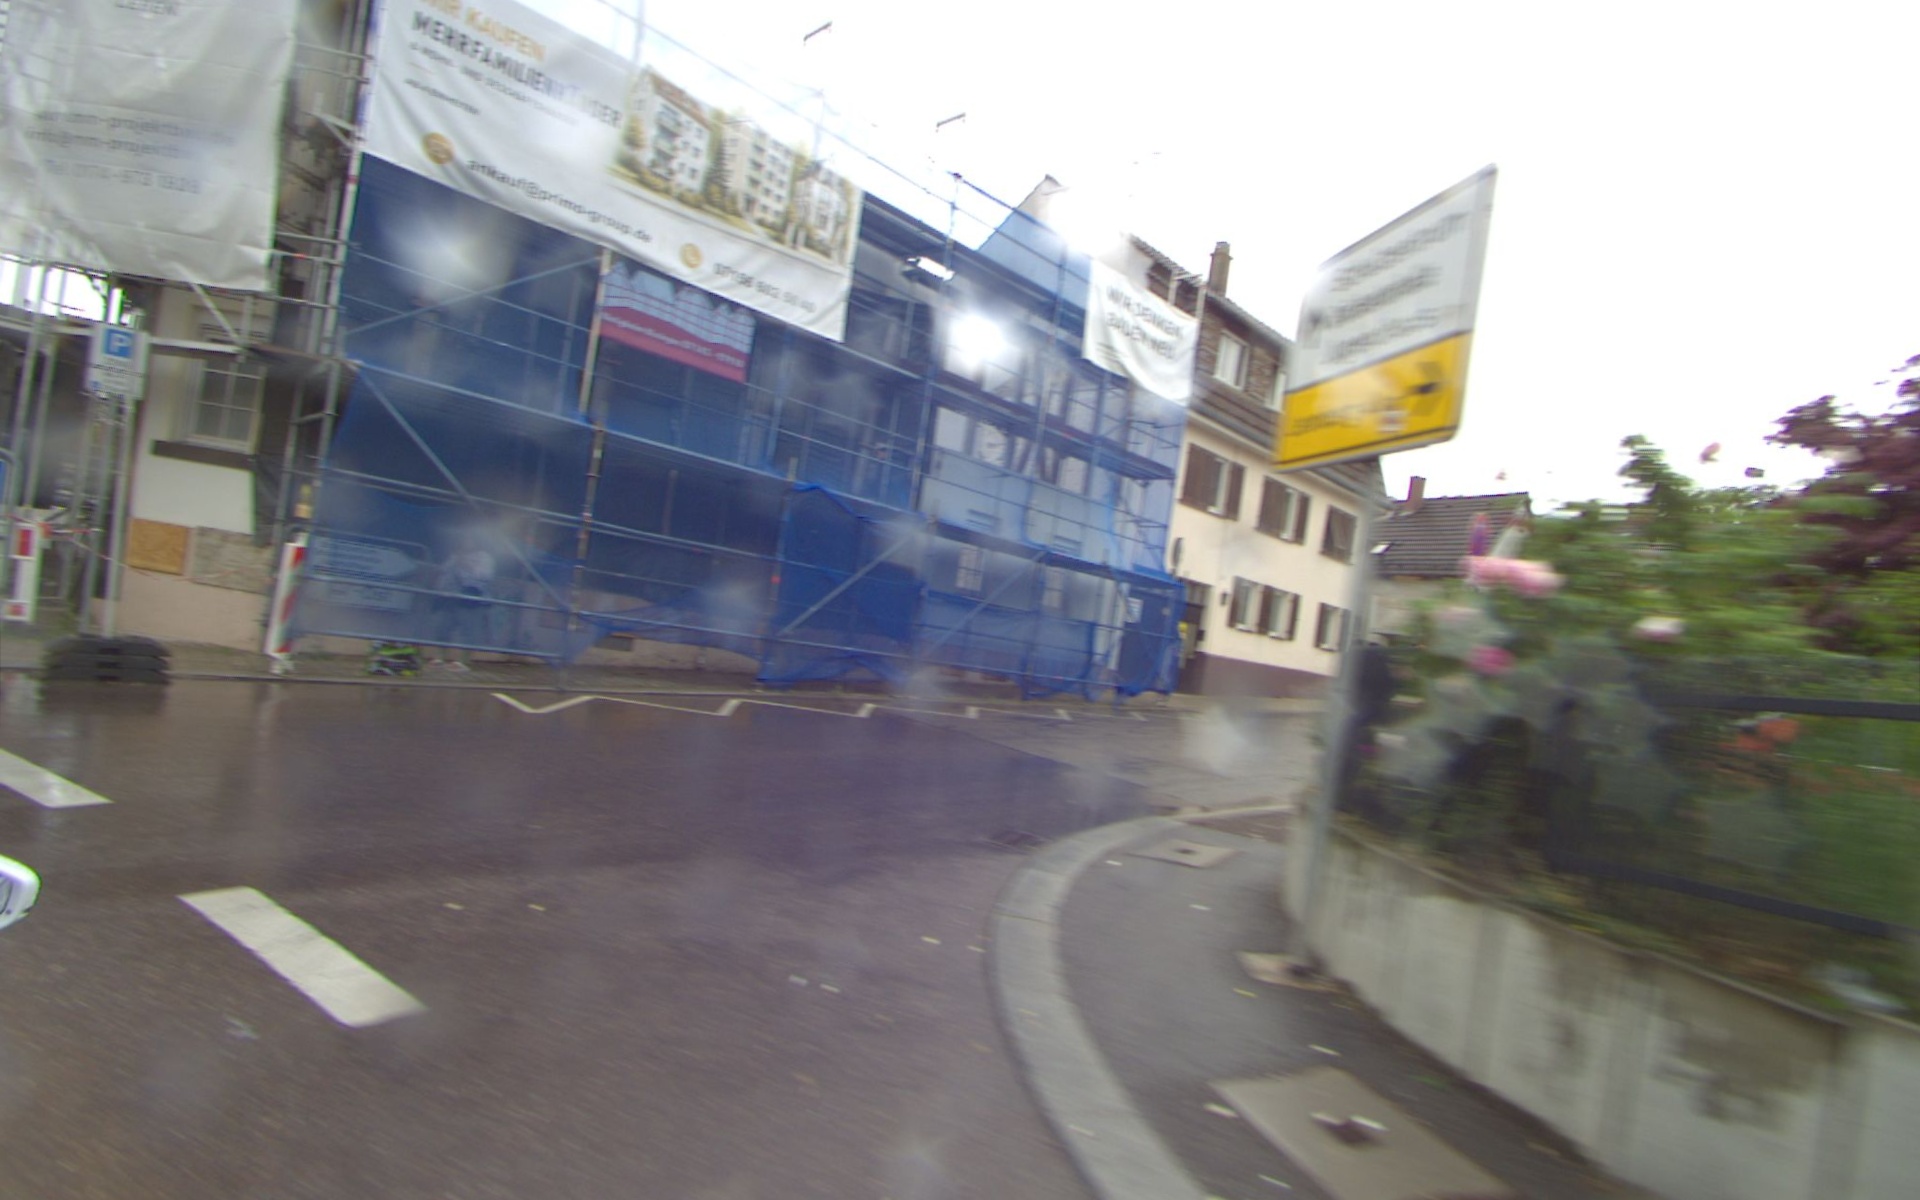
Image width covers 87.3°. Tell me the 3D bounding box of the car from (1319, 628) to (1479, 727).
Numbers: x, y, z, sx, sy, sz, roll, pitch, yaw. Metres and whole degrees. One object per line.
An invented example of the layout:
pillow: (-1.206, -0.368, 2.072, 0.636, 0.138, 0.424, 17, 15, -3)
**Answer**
car: (10.831, 1.936, 24.664, 4.488, 2.000, 1.806, 7, 0, -44)

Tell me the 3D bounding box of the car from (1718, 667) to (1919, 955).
car: (7.236, 1.544, 6.152, 3.941, 1.619, 1.714, 9, 2, 39)

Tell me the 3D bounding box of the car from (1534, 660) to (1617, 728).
car: (22.162, 3.407, 36.160, 1.688, 2.127, 3.922, 6, -1, 42)

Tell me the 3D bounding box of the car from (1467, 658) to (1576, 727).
car: (17.735, 2.946, 31.666, 1.804, 1.819, 4.493, 7, 0, 43)
